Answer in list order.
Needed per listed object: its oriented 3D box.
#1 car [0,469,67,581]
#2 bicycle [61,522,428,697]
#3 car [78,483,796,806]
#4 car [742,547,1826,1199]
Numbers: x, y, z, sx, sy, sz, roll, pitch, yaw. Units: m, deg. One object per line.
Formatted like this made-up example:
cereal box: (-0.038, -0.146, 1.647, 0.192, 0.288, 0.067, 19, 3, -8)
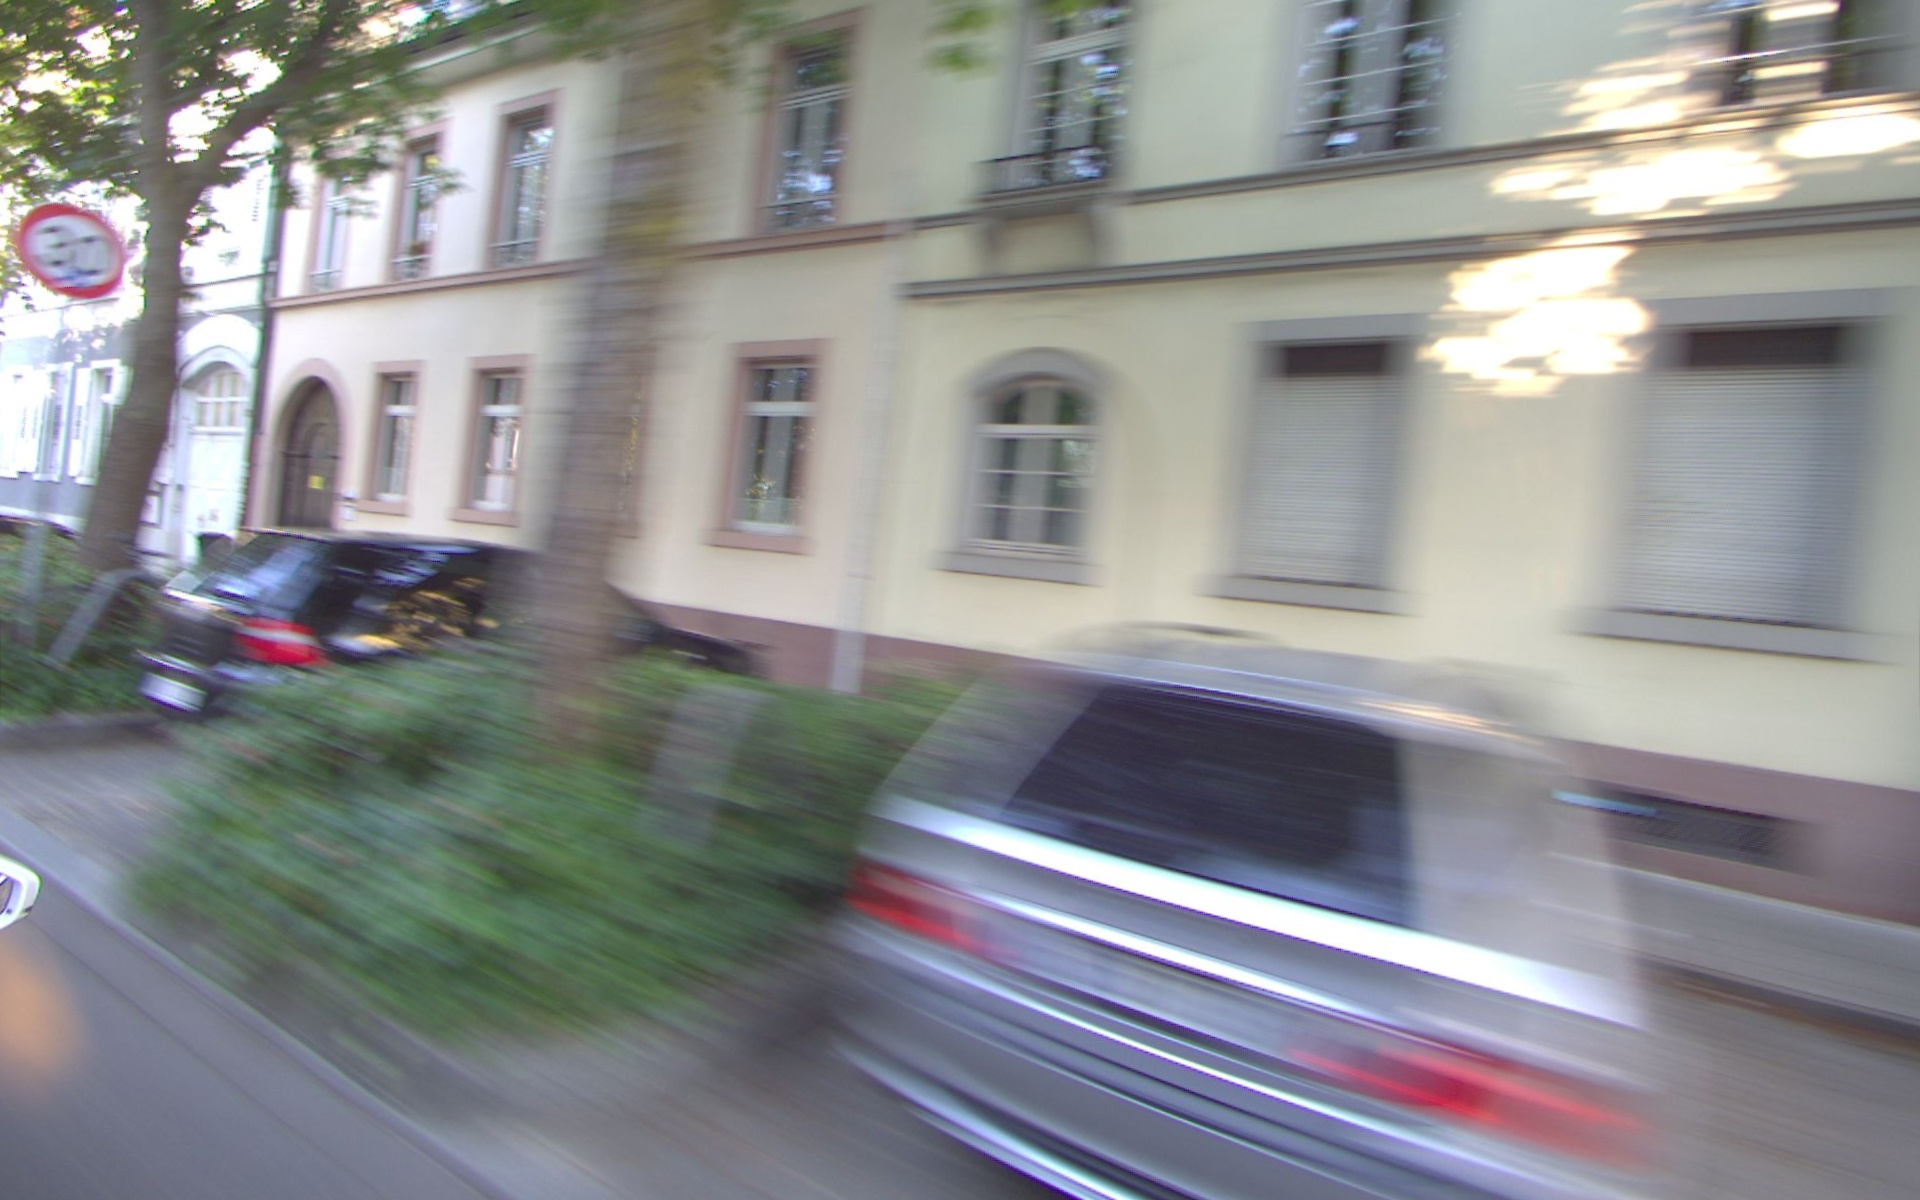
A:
car: (-16.021, -1.342, 14.698, 1.751, 1.643, 4.020, 7, -1, 31)
bicycle: (-4.993, 0.121, 7.210, 0.575, 1.049, 2.019, 7, 0, 29)
car: (-3.187, 0.315, 7.005, 1.751, 1.498, 4.021, 7, -1, 31)
car: (1.422, 0.831, 3.653, 1.821, 1.499, 4.196, 7, 0, 32)
